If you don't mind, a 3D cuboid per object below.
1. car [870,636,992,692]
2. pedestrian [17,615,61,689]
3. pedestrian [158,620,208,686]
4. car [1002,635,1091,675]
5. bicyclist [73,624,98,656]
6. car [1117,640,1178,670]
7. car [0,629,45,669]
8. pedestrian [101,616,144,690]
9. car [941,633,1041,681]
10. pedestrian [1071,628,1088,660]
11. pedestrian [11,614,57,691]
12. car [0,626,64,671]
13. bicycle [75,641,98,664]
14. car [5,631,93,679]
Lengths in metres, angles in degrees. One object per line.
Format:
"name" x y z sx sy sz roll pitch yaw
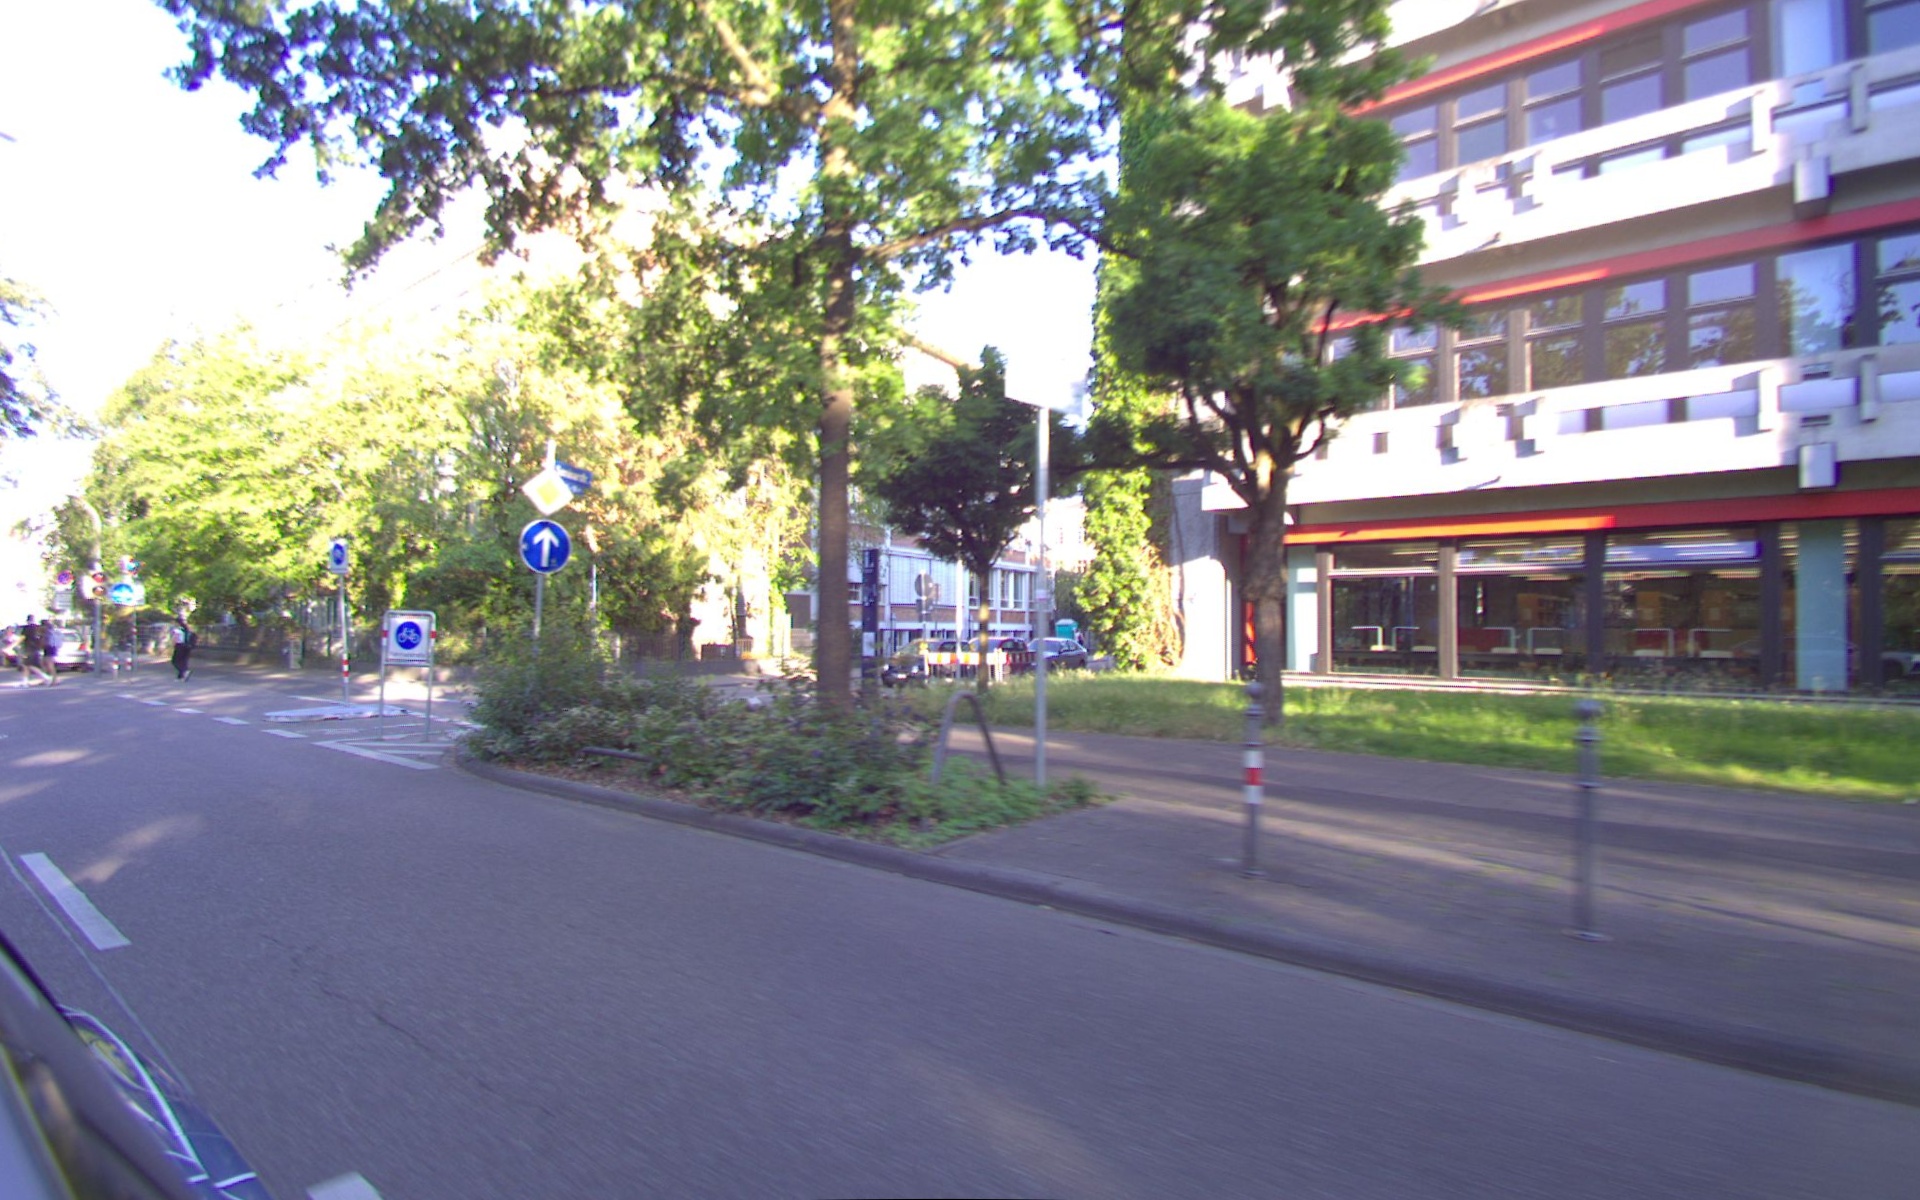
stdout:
"car" -0.781 1.823 29.783 1.770 1.460 3.922 1 -1 30
"pedestrian" -23.716 1.329 26.061 0.673 1.850 0.773 -2 -1 44
"pedestrian" -20.411 1.383 26.585 0.777 1.688 0.670 -2 -1 13
"car" 3.193 1.955 36.777 1.770 1.301 3.762 1 -1 30
"bicyclist" -40.119 1.829 46.405 1.060 1.465 0.741 -2 -3 44
"car" 8.697 2.495 46.709 1.623 1.302 3.762 -1 -2 30
"car" -39.569 2.005 42.101 4.107 1.580 1.753 -2 -1 41
"pedestrian" -21.432 1.341 25.900 0.673 1.850 0.773 -2 -1 44
"car" 1.086 1.825 33.214 1.770 1.417 3.608 1 -1 30
"pedestrian" 6.563 2.433 55.688 0.742 1.753 0.651 -1 -3 29
"pedestrian" -22.912 1.284 25.044 0.673 1.850 0.773 -2 -1 44
"car" -35.512 1.797 38.409 4.107 1.580 1.753 -2 -1 41
"bicycle" -40.027 2.394 46.362 2.148 1.021 0.617 -2 -3 44
"car" -30.932 1.822 34.333 4.107 1.494 1.753 -2 -1 41
